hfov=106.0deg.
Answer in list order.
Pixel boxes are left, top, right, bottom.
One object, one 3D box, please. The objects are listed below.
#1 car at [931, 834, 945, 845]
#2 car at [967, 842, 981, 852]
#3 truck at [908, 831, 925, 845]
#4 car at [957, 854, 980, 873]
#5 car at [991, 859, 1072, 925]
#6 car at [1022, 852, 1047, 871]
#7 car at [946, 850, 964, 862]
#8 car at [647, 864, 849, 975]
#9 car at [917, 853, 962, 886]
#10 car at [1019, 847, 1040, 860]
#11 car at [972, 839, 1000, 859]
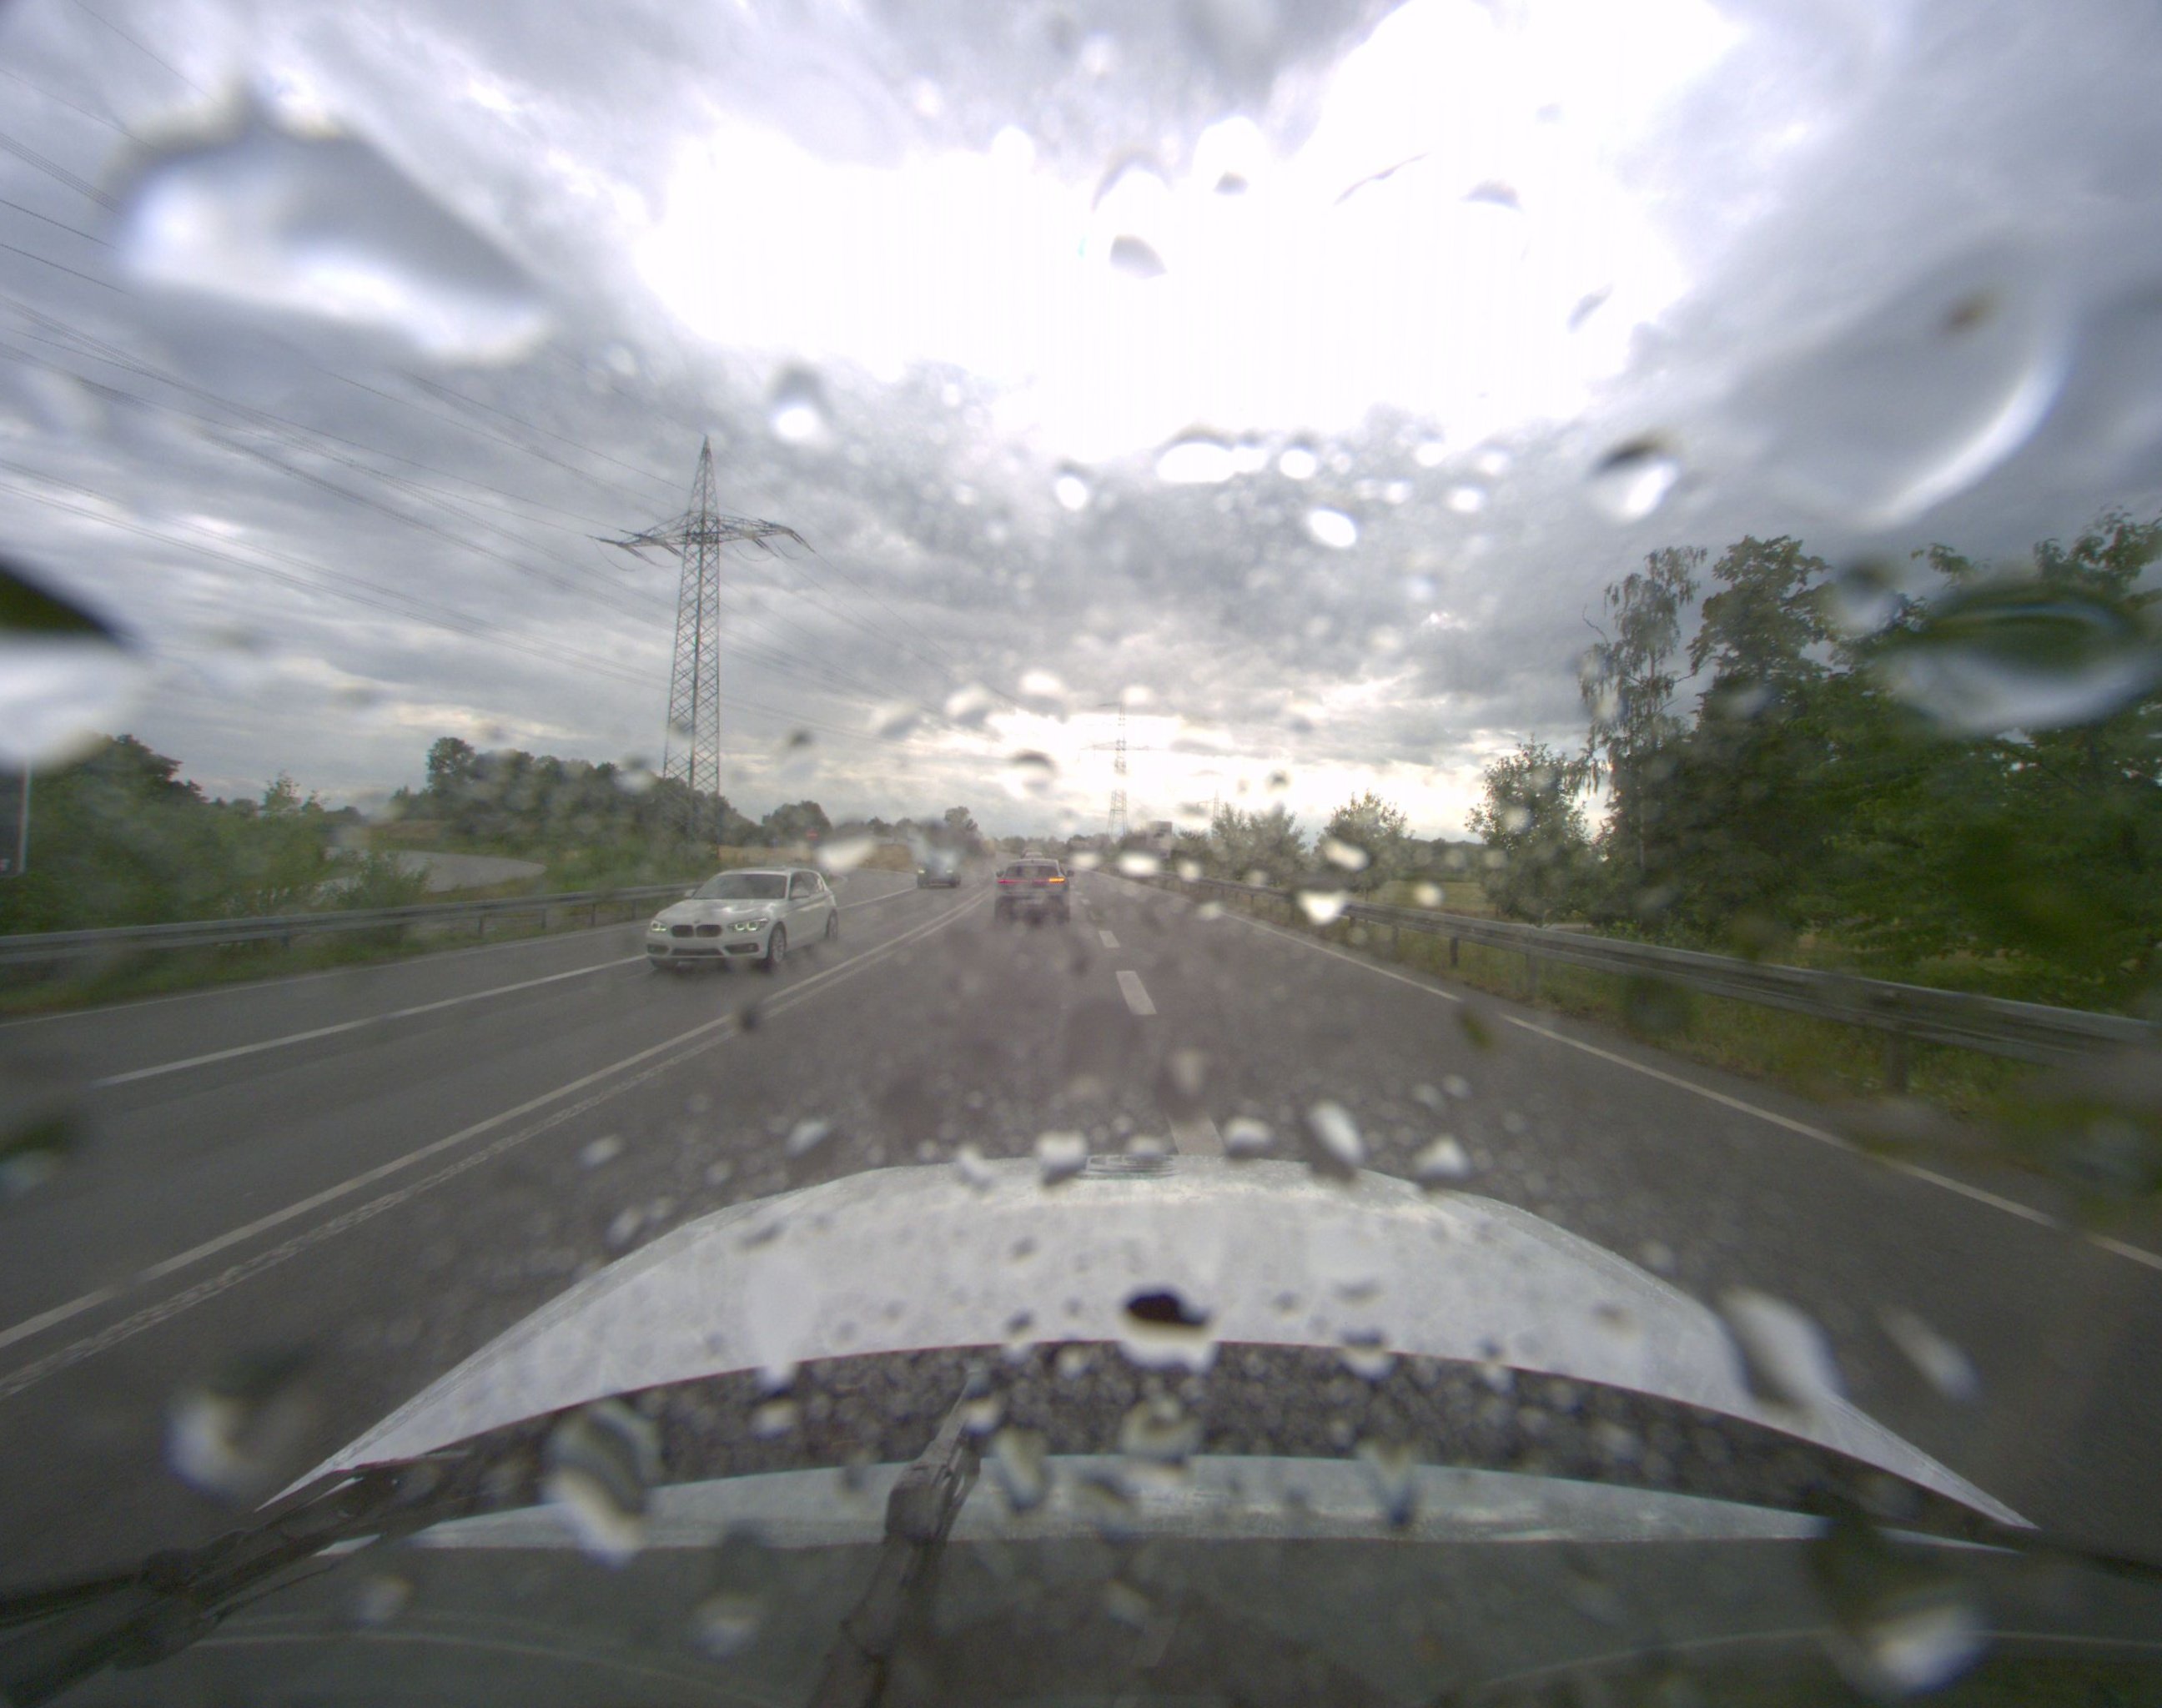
[{"bbox_3d":[-31.605,-3.232,179.847,2.607,2.250,5.506,1,0,-16],"label":"car"},{"bbox_3d":[-18.165,-1.225,137.834,1.795,1.687,3.979,0,1,-16],"label":"car"},{"bbox_3d":[-41.139,-4.018,203.154,3.056,3.385,7.591,1,0,-20],"label":"truck"},{"bbox_3d":[-9.119,0.748,66.194,1.703,1.480,4.599,0,-1,-7],"label":"car"},{"bbox_3d":[-1.179,0.915,20.371,1.787,1.441,3.996,1,-2,-2],"label":"car"},{"bbox_3d":[-3.749,0.598,65.428,1.790,1.441,3.990,0,0,-7],"label":"car"},{"bbox_3d":[-17.872,0.268,115.549,1.806,1.594,4.196,0,-1,-20],"label":"car"},{"bbox_3d":[-5.141,0.930,13.199,1.675,1.457,4.072,1,0,-2],"label":"car"},{"bbox_3d":[-6.986,0.769,40.688,1.796,1.575,4.252,-1,-1,-4],"label":"car"},{"bbox_3d":[-6.522,-0.088,102.543,1.795,1.541,3.978,-1,-1,-16],"label":"car"},{"bbox_3d":[-13.420,-0.738,114.865,2.580,2.725,7.153,-1,0,-18],"label":"car"}]
